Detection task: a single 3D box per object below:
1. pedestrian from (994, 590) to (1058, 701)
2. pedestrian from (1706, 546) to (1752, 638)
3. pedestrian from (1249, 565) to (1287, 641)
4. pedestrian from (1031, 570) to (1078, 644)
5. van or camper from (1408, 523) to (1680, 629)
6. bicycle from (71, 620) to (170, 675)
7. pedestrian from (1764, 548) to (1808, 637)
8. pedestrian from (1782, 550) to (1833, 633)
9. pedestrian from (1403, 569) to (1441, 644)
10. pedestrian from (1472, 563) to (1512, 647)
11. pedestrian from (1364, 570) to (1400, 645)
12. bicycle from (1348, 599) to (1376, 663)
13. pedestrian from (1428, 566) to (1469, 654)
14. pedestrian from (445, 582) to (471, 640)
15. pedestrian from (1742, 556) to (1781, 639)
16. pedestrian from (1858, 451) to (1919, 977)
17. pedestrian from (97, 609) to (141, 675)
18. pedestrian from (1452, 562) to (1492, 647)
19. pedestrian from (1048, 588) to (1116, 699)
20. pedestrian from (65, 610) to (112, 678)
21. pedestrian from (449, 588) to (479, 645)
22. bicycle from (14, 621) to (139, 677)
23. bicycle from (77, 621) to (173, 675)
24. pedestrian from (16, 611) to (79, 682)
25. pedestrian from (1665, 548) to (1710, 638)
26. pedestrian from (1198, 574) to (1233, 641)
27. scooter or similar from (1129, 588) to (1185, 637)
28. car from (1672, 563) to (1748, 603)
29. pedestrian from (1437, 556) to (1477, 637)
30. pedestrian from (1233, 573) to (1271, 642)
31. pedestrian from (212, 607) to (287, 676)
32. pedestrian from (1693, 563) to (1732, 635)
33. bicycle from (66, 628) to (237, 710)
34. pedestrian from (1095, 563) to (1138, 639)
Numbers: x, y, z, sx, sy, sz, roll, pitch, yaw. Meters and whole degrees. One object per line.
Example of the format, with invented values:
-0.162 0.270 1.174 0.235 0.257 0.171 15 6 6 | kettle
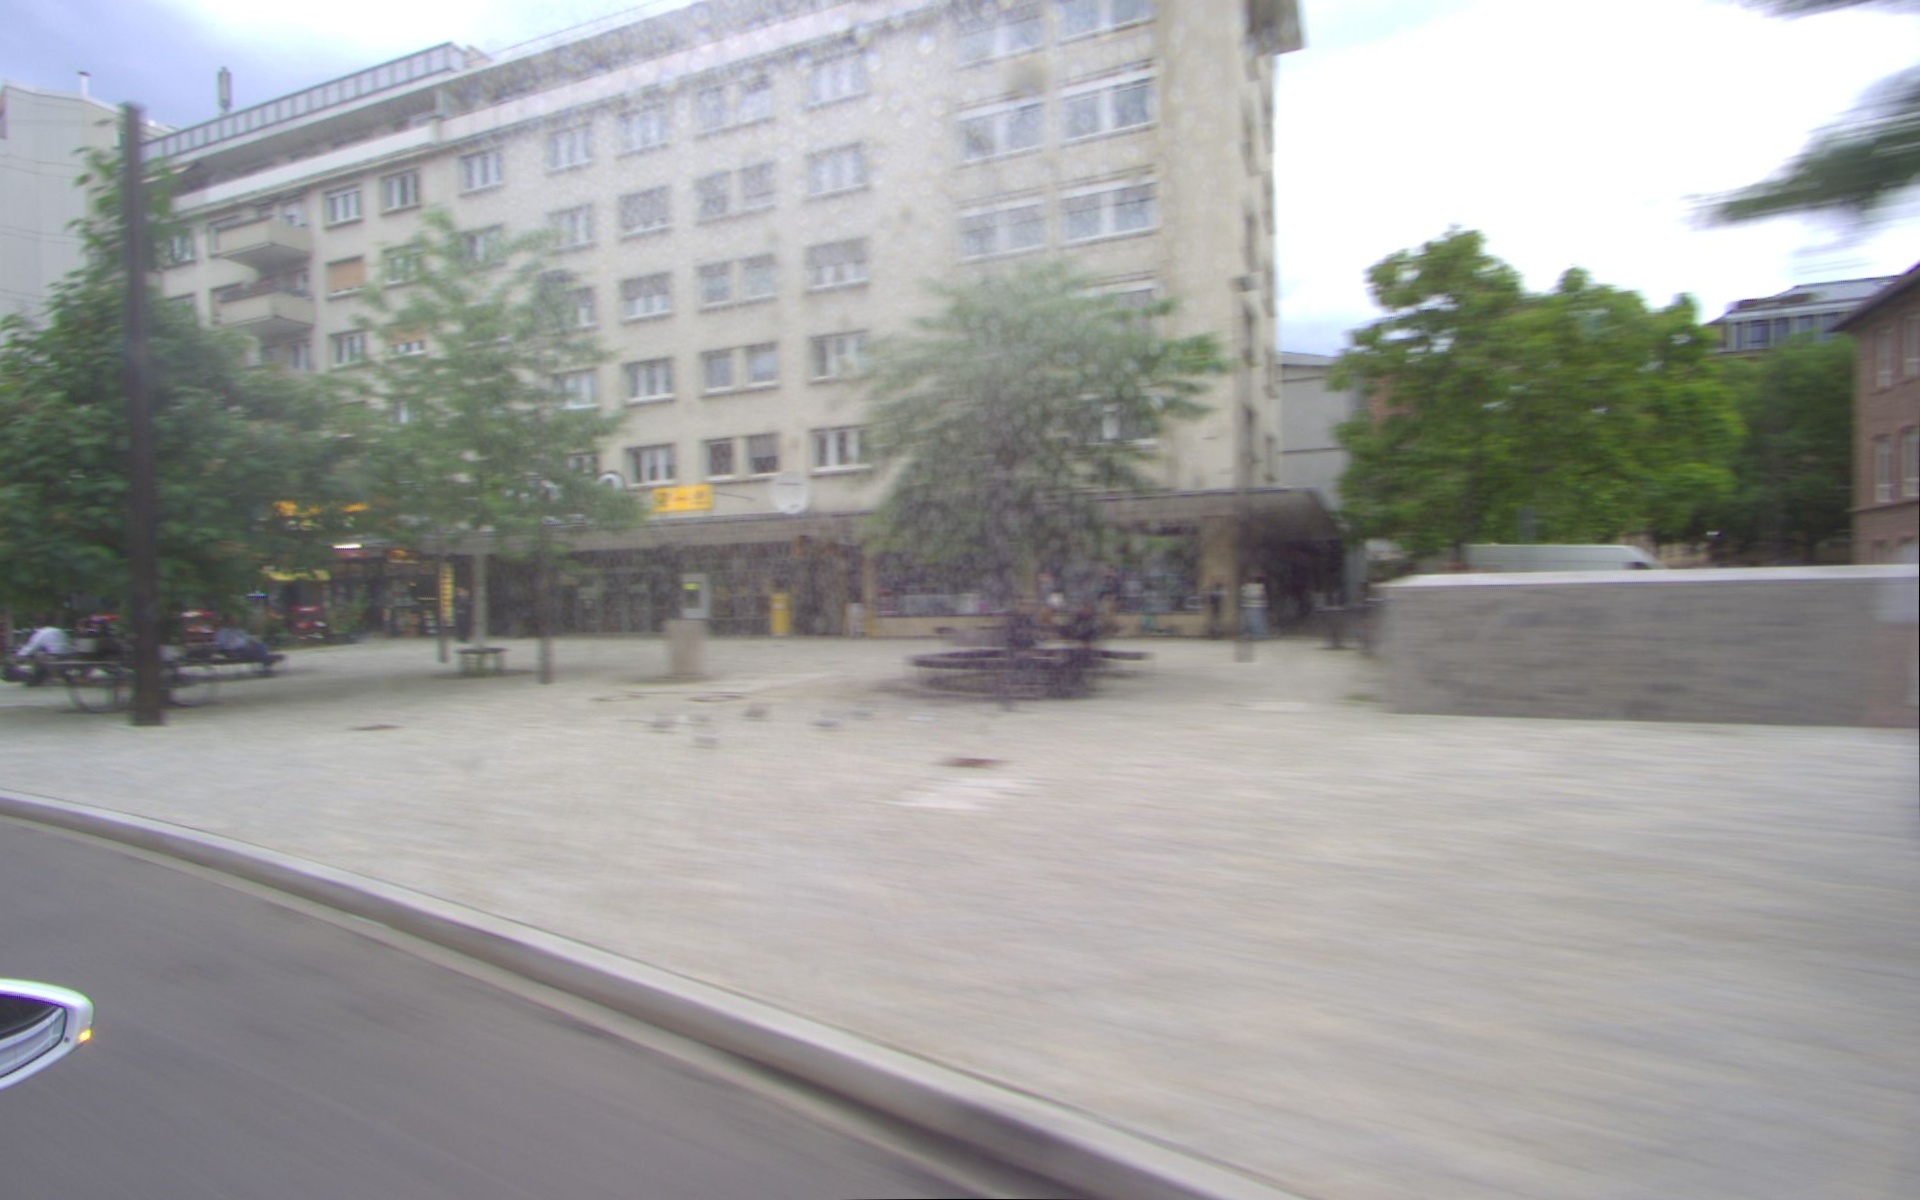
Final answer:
0.918 0.617 14.080 0.753 1.475 0.779 -2 3 -6 | pedestrian
14.401 -0.151 18.753 0.509 1.693 0.585 -2 2 -45 | pedestrian
7.449 0.068 24.207 0.583 1.792 0.639 -1 2 -30 | pedestrian
2.339 0.172 24.733 1.047 1.797 0.772 0 2 13 | pedestrian
16.296 -0.572 28.451 6.451 2.755 1.994 -1 -1 24 | van or camper
-18.698 1.032 22.336 0.471 1.126 1.593 0 2 38 | bicycle
15.947 -0.147 19.335 0.509 1.693 0.585 -2 2 -45 | pedestrian
21.204 -0.200 25.064 0.807 2.040 0.757 0 0 27 | pedestrian
10.589 0.145 22.948 0.585 1.693 0.637 2 2 44 | pedestrian
10.930 0.091 20.565 0.585 1.693 0.509 2 2 44 | pedestrian
9.712 0.153 23.026 0.584 1.693 0.638 2 2 39 | pedestrian
7.581 0.557 18.878 0.462 1.078 2.024 0 2 22 | bicycle
9.641 0.186 19.762 0.585 1.693 0.509 2 2 44 | pedestrian
-16.791 0.386 33.466 0.764 1.909 0.848 0 0 -28 | pedestrian
19.017 -0.050 23.763 0.525 1.914 0.663 0 0 20 | pedestrian
3.873 0.414 3.539 0.760 1.927 0.869 0 2 22 | pedestrian
-18.221 0.890 21.685 1.266 1.384 0.540 -1 -1 41 | pedestrian
10.379 0.089 20.307 0.585 1.693 0.509 2 2 44 | pedestrian
1.701 0.588 14.055 0.753 1.475 0.779 -2 3 -6 | pedestrian
-18.044 0.898 20.724 0.908 1.384 0.625 -1 -1 41 | pedestrian
-15.959 0.512 32.200 0.764 1.776 0.714 -3 3 -28 | pedestrian
-19.829 1.076 22.524 0.472 1.126 2.025 0 2 39 | bicycle
-18.981 1.072 22.786 0.471 1.126 1.593 0 2 38 | bicycle
-18.225 0.923 20.005 0.674 1.384 0.630 0 0 5 | pedestrian
13.973 -0.139 19.229 0.509 1.693 0.586 -1 2 -43 | pedestrian
6.215 0.170 24.373 0.631 1.608 0.591 0 2 -9 | pedestrian
5.152 0.314 26.230 0.496 1.220 1.423 -4 3 -42 | scooter or similar
32.709 -0.695 43.760 1.774 1.583 3.987 -1 -1 24 | car
10.616 -0.076 21.385 0.509 1.693 0.586 -1 2 -43 | pedestrian
6.886 0.172 23.629 0.631 1.608 0.591 0 2 -9 | pedestrian
-14.665 0.851 20.679 1.386 1.384 0.628 -1 0 23 | pedestrian
18.083 -0.020 24.082 0.524 1.700 0.663 0 0 14 | pedestrian
-12.098 0.991 15.054 0.636 1.137 1.909 -1 -1 34 | bicycle
4.016 0.024 25.745 1.046 1.927 0.772 -1 2 6 | pedestrian
